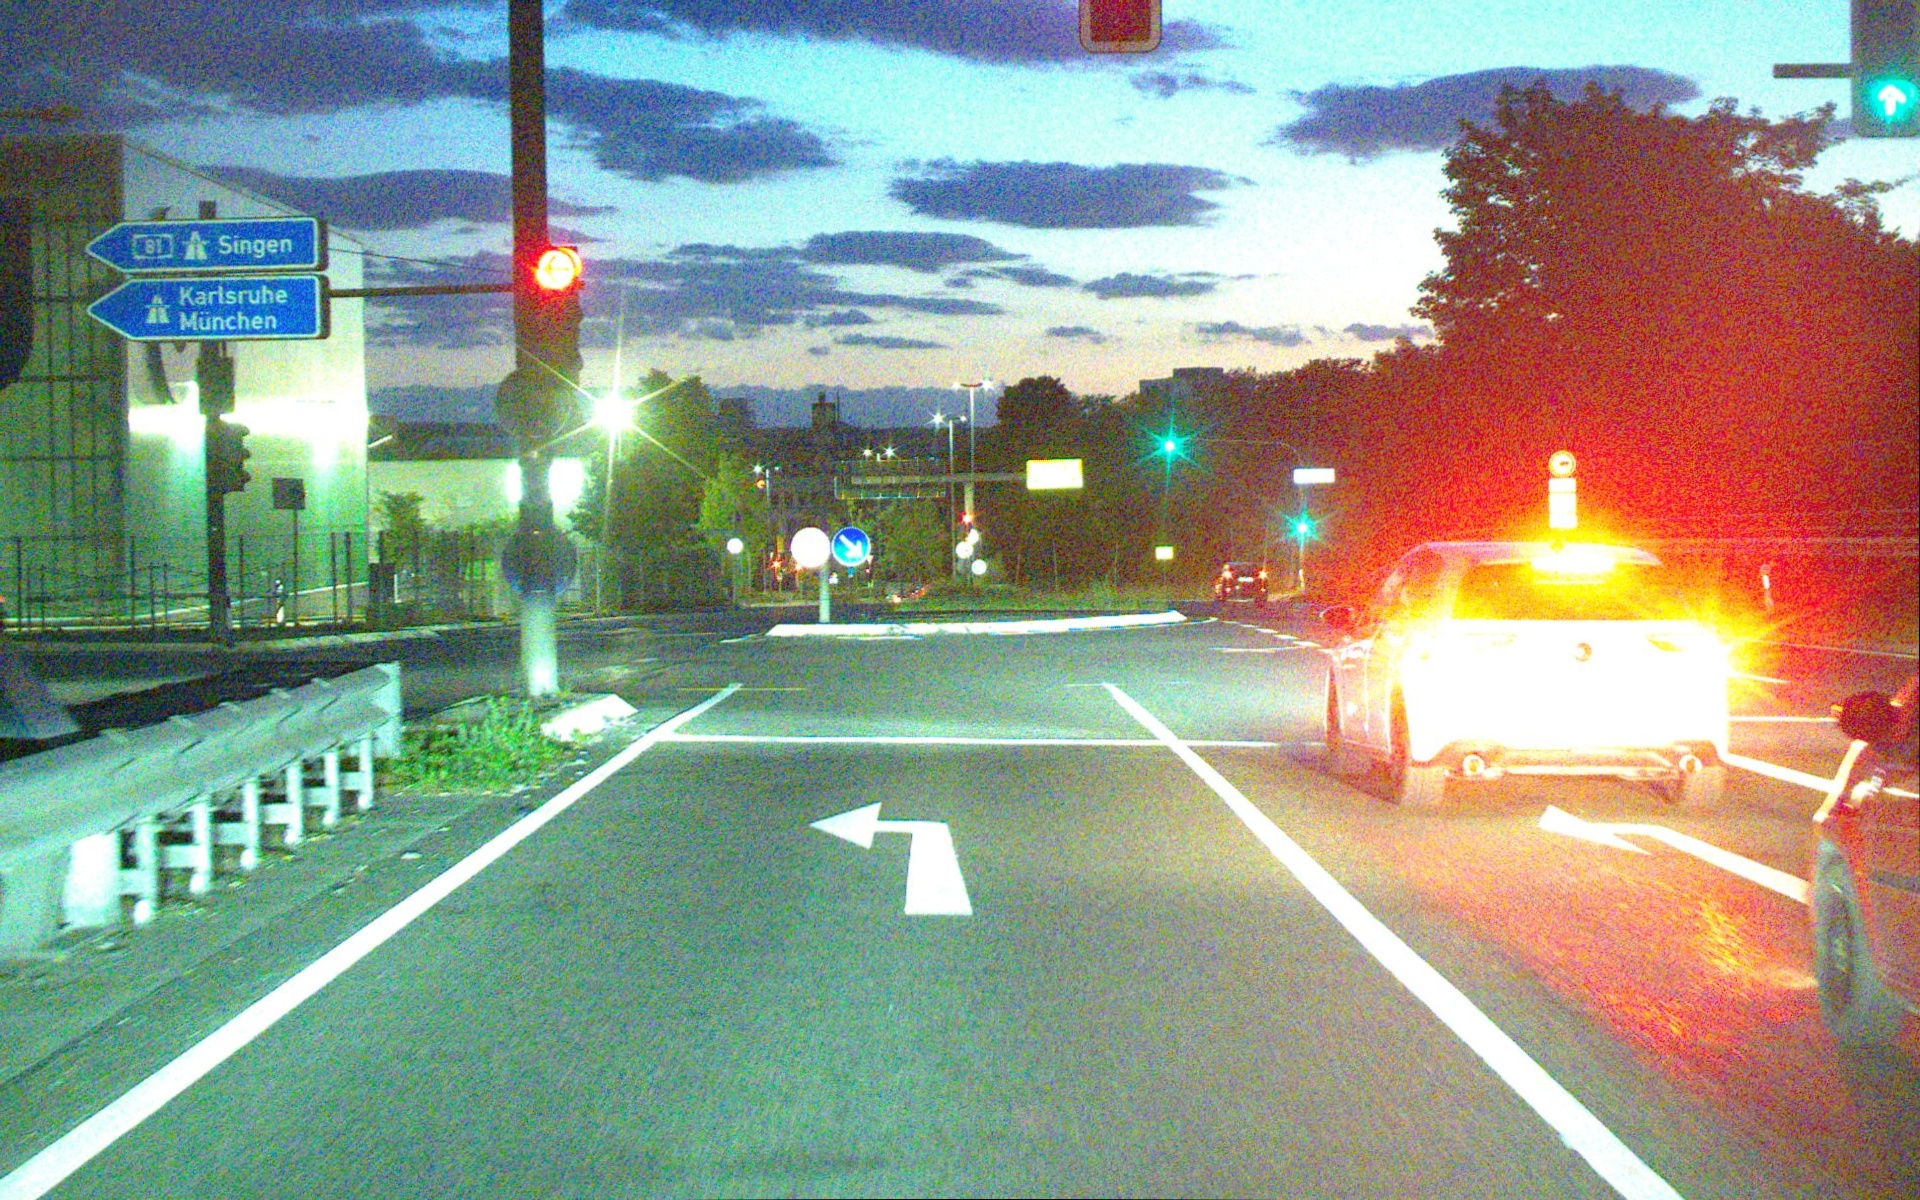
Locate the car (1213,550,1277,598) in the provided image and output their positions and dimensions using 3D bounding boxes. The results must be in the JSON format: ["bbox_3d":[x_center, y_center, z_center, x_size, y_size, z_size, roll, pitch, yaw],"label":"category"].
[{"bbox_3d":[10.293,-0.941,124.366,1.935,1.640,4.000,-1,1,-1],"label":"car"}]

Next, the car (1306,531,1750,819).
[{"bbox_3d":[3.136,0.346,19.782,1.758,1.454,4.193,0,1,-1],"label":"car"}]

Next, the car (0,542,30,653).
[{"bbox_3d":[-19.092,-0.074,62.194,3.986,2.007,2.000,0,1,-30],"label":"car"}]

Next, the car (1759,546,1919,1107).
[{"bbox_3d":[3.333,0.603,8.929,1.652,1.445,3.490,0,1,-1],"label":"car"}]
